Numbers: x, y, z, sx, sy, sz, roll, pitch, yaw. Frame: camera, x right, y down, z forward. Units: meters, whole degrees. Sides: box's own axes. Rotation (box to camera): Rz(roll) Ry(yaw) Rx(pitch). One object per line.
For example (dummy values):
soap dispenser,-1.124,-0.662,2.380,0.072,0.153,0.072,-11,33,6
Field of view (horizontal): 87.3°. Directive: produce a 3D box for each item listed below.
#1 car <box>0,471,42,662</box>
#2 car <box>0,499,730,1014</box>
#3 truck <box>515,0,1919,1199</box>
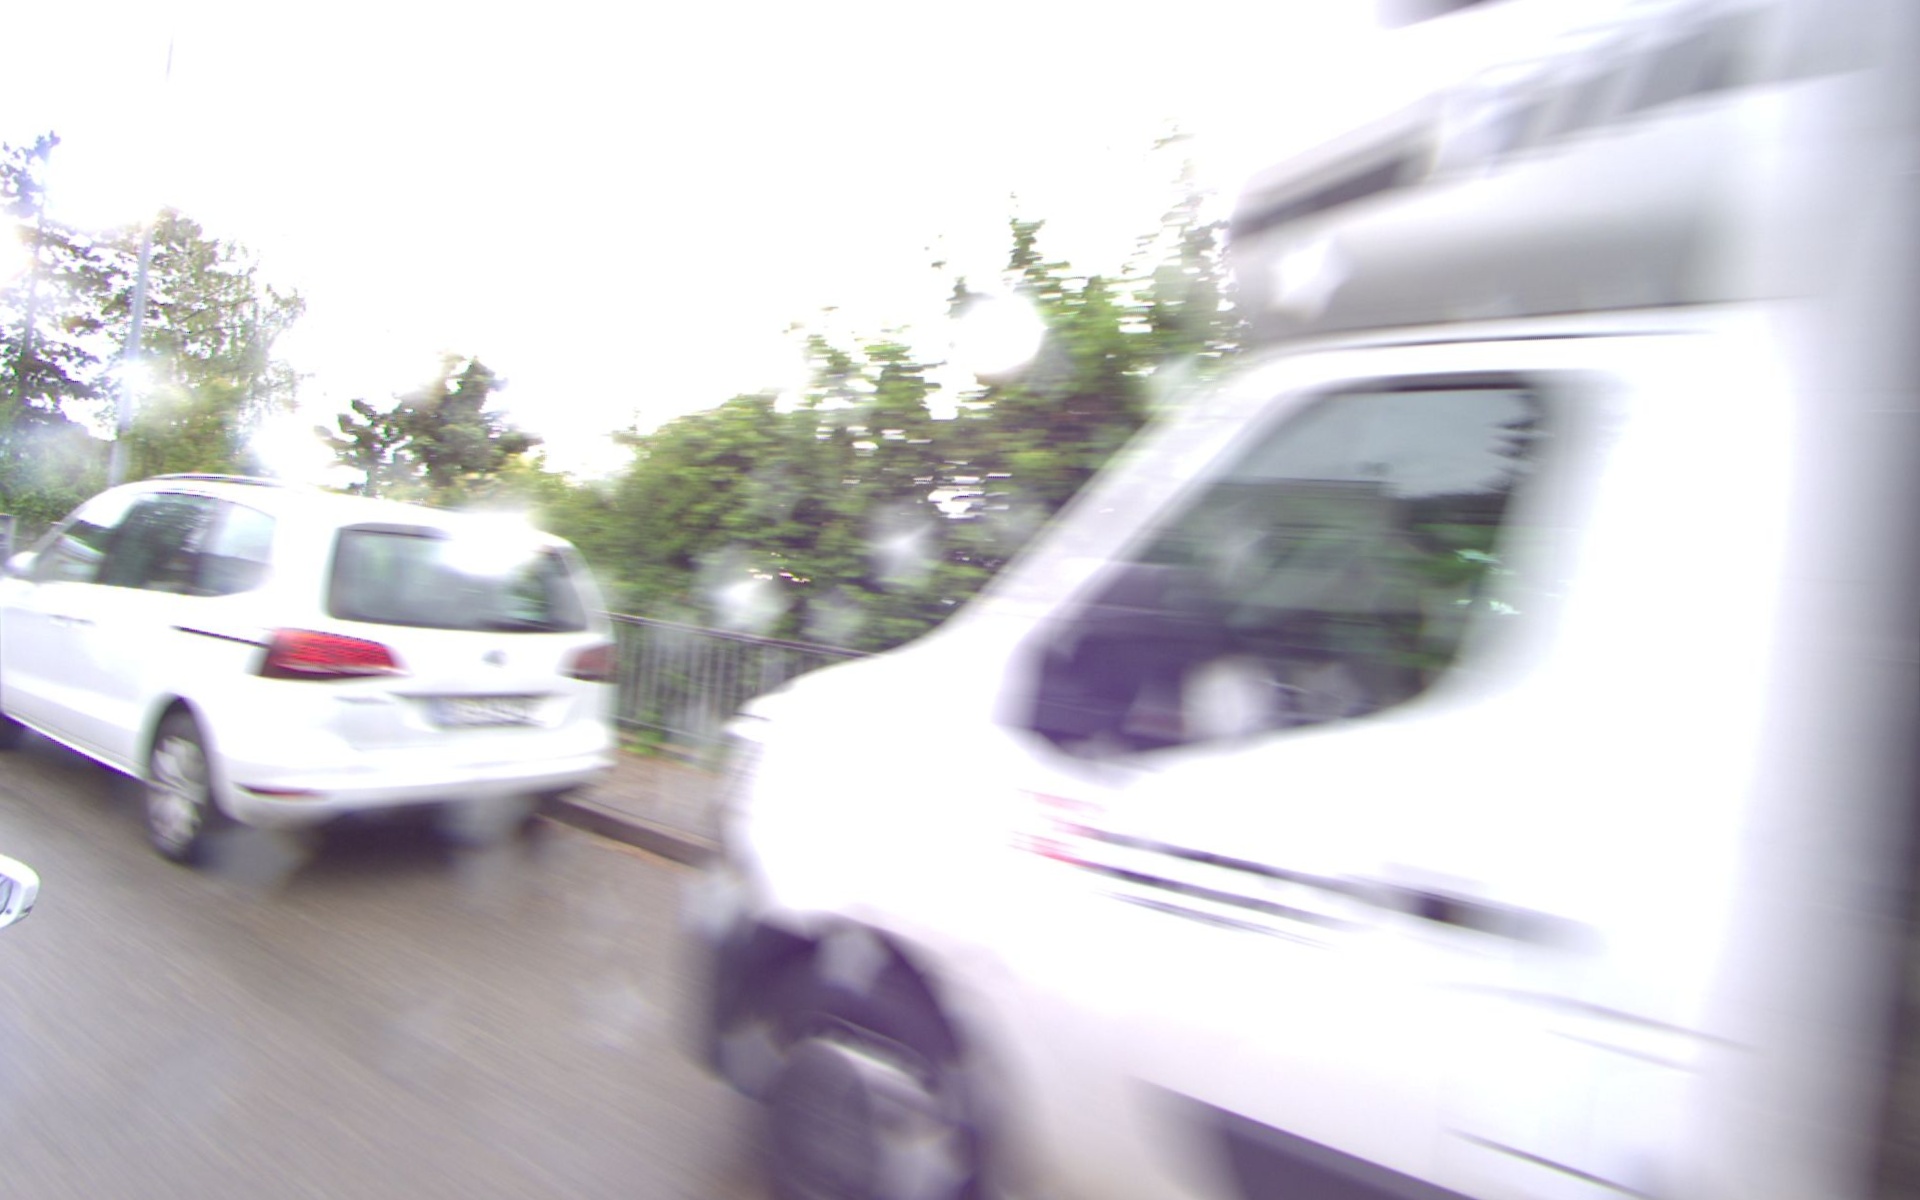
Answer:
car,-10.865,-0.571,9.607,4.618,1.692,1.938,6,-1,34
car,-4.088,0.454,5.829,5.545,1.704,1.849,6,-1,32
truck,3.055,0.194,1.382,7.833,3.375,2.439,6,-1,32
